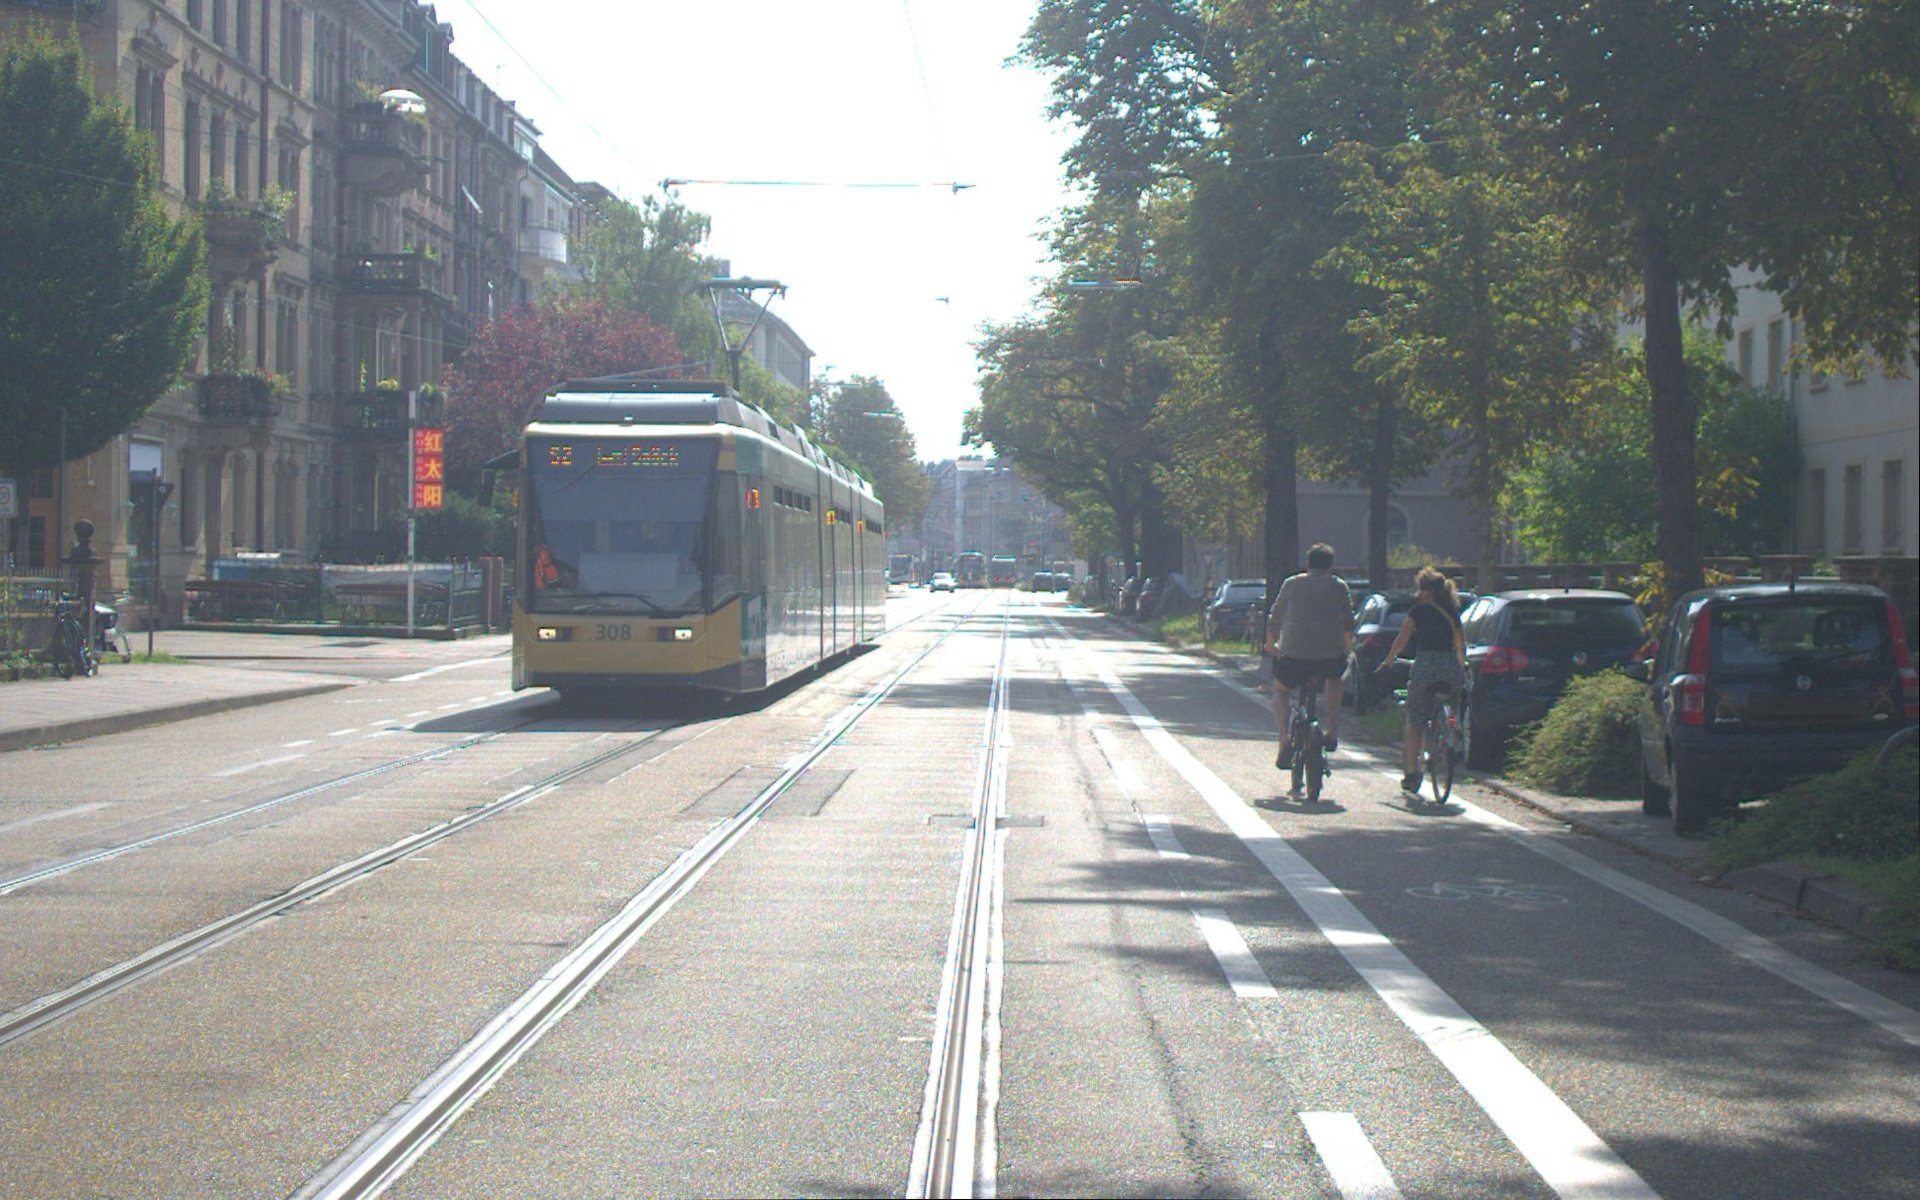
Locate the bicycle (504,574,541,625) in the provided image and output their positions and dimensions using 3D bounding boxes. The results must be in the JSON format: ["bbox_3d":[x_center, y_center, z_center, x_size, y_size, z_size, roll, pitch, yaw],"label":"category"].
[{"bbox_3d":[-9.616,-0.007,75.612,0.508,1.104,2.003,1,0,1],"label":"bicycle"}]

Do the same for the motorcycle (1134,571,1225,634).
[{"bbox_3d":[5.912,0.067,92.580,0.911,1.668,2.418,-2,1,-44],"label":"motorcycle"}]

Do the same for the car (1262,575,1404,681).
[{"bbox_3d":[5.555,0.398,51.578,1.689,1.497,4.096,-1,0,0],"label":"car"}]

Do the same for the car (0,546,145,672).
[{"bbox_3d":[-12.766,0.086,44.022,4.137,1.538,2.064,2,0,0],"label":"car"}]

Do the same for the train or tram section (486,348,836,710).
[{"bbox_3d":[-3.218,-0.768,41.518,2.734,3.493,15.433,1,1,0],"label":"train or tram section"}]

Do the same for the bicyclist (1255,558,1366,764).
[{"bbox_3d":[2.465,0.419,24.241,0.626,1.396,0.929,3,0,0],"label":"bicyclist"}]

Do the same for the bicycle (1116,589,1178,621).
[{"bbox_3d":[6.631,0.183,121.773,2.106,1.101,0.563,1,0,-6],"label":"bicycle"}]

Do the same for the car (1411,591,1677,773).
[{"bbox_3d":[5.001,0.657,29.924,1.645,1.443,4.246,-1,0,1],"label":"car"}]

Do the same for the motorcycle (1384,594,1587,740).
[{"bbox_3d":[5.227,0.661,34.248,1.854,1.285,0.705,-3,5,-2],"label":"motorcycle"}]

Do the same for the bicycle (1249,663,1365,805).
[{"bbox_3d":[2.433,0.928,24.234,0.626,0.906,1.525,3,0,0],"label":"bicycle"}]

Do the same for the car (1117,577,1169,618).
[{"bbox_3d":[6.668,-0.067,125.427,1.772,1.468,3.974,0,-1,1],"label":"car"}]

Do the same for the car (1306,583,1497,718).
[{"bbox_3d":[5.182,0.557,40.799,1.689,1.430,4.337,-2,1,0],"label":"car"}]

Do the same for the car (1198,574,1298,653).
[{"bbox_3d":[5.831,0.253,70.040,1.743,1.555,4.719,0,0,1],"label":"car"}]

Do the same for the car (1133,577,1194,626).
[{"bbox_3d":[6.401,0.039,108.403,1.726,1.499,3.984,-1,0,1],"label":"car"}]

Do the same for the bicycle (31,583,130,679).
[{"bbox_3d":[-10.349,0.352,40.512,0.545,1.054,1.839,5,1,2],"label":"bicycle"}]

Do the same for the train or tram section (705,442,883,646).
[{"bbox_3d":[-3.021,-1.021,65.363,2.734,3.494,10.776,1,1,0],"label":"train or tram section"}]

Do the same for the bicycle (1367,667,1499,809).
[{"bbox_3d":[3.361,0.968,24.554,0.654,0.906,1.775,3,0,0],"label":"bicycle"}]

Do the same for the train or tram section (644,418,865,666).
[{"bbox_3d":[-3.091,-0.877,54.568,2.734,3.494,10.776,1,1,0],"label":"train or tram section"}]

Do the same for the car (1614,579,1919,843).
[{"bbox_3d":[5.225,0.648,22.227,1.646,1.535,3.841,-1,0,6],"label":"car"}]

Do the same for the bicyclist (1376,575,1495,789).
[{"bbox_3d":[3.388,0.574,24.537,0.654,1.469,0.909,3,0,0],"label":"bicyclist"}]
